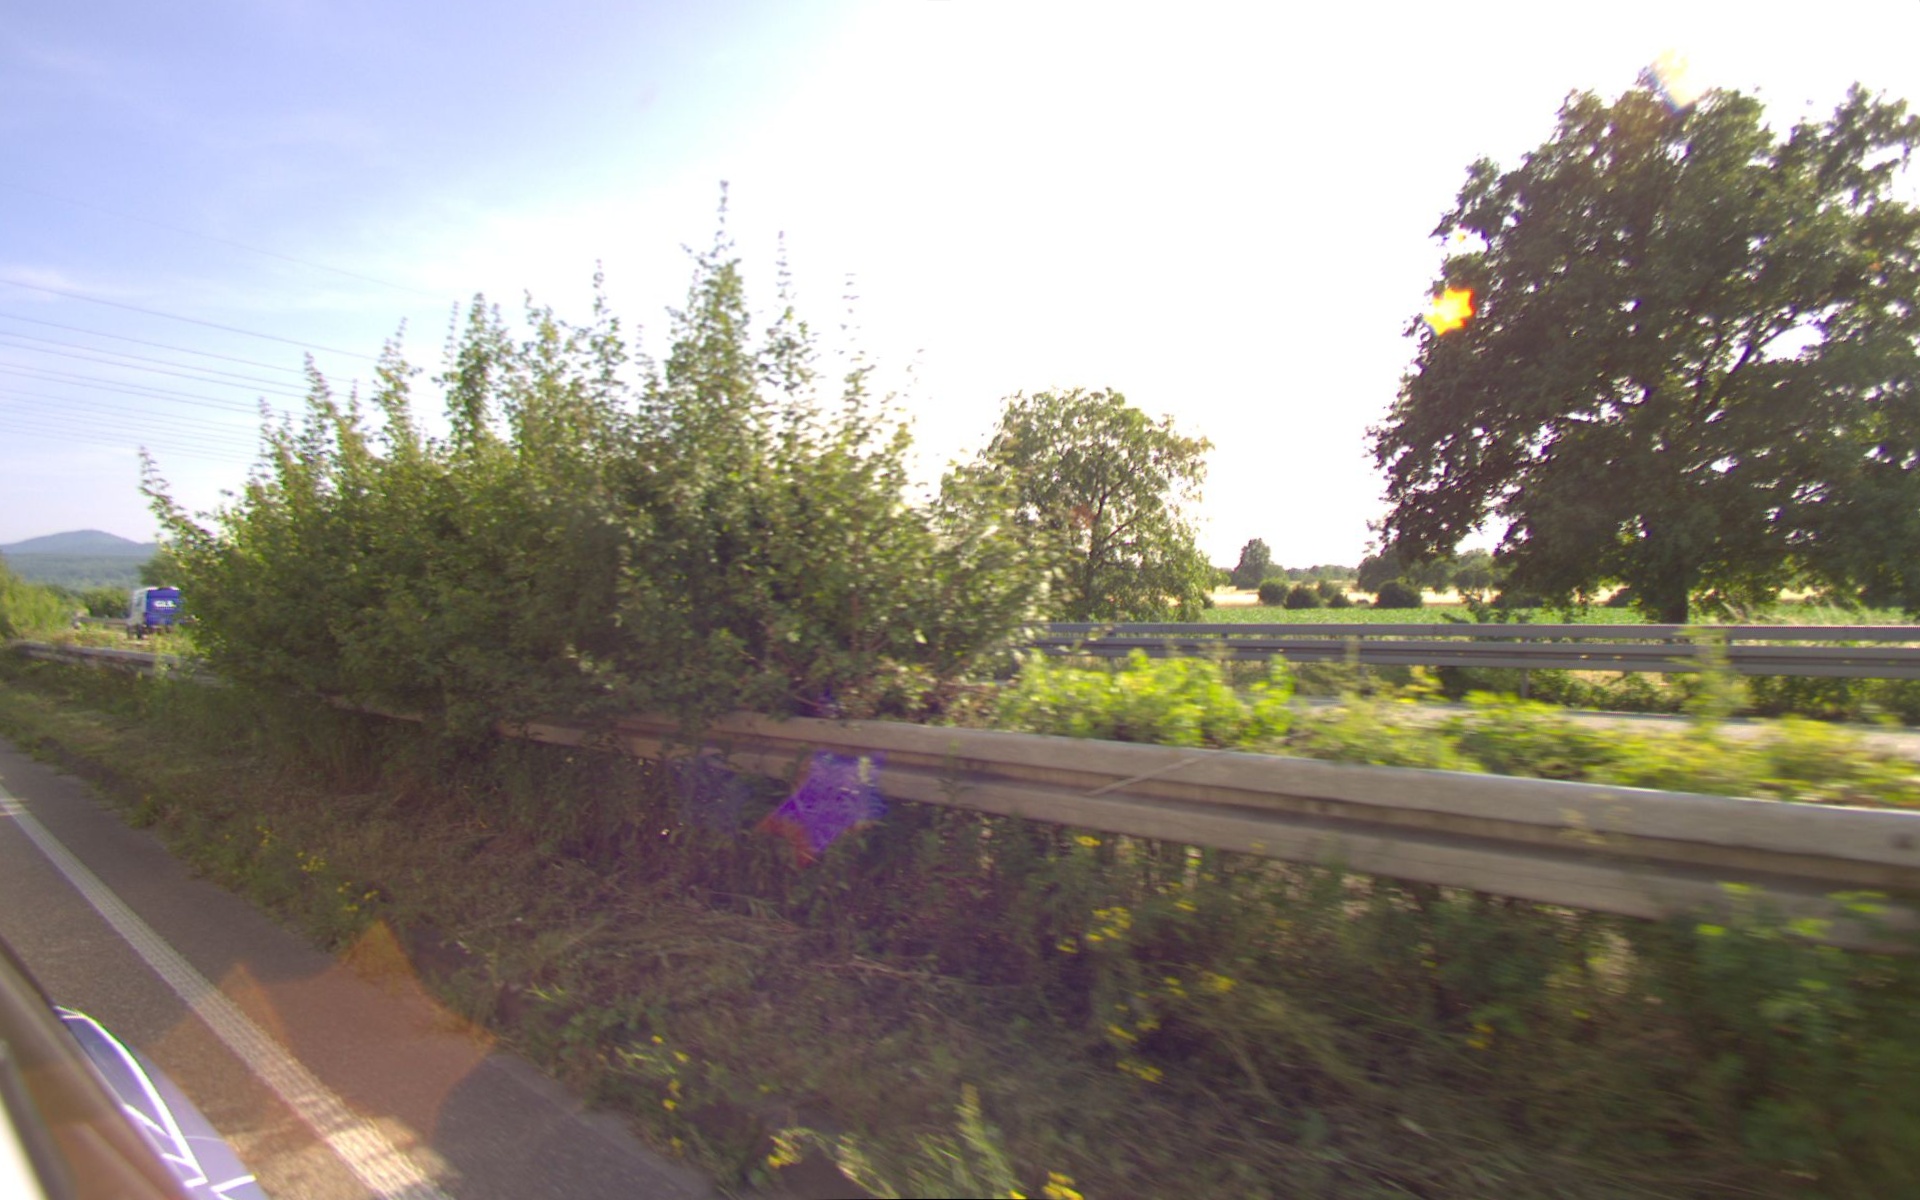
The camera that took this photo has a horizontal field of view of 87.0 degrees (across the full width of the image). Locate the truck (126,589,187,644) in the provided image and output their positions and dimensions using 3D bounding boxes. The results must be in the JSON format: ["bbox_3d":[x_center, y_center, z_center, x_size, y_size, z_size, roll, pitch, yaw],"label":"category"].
[{"bbox_3d":[-44.162,0.893,55.585,5.046,2.877,1.994,-2,-1,44],"label":"truck"}]
